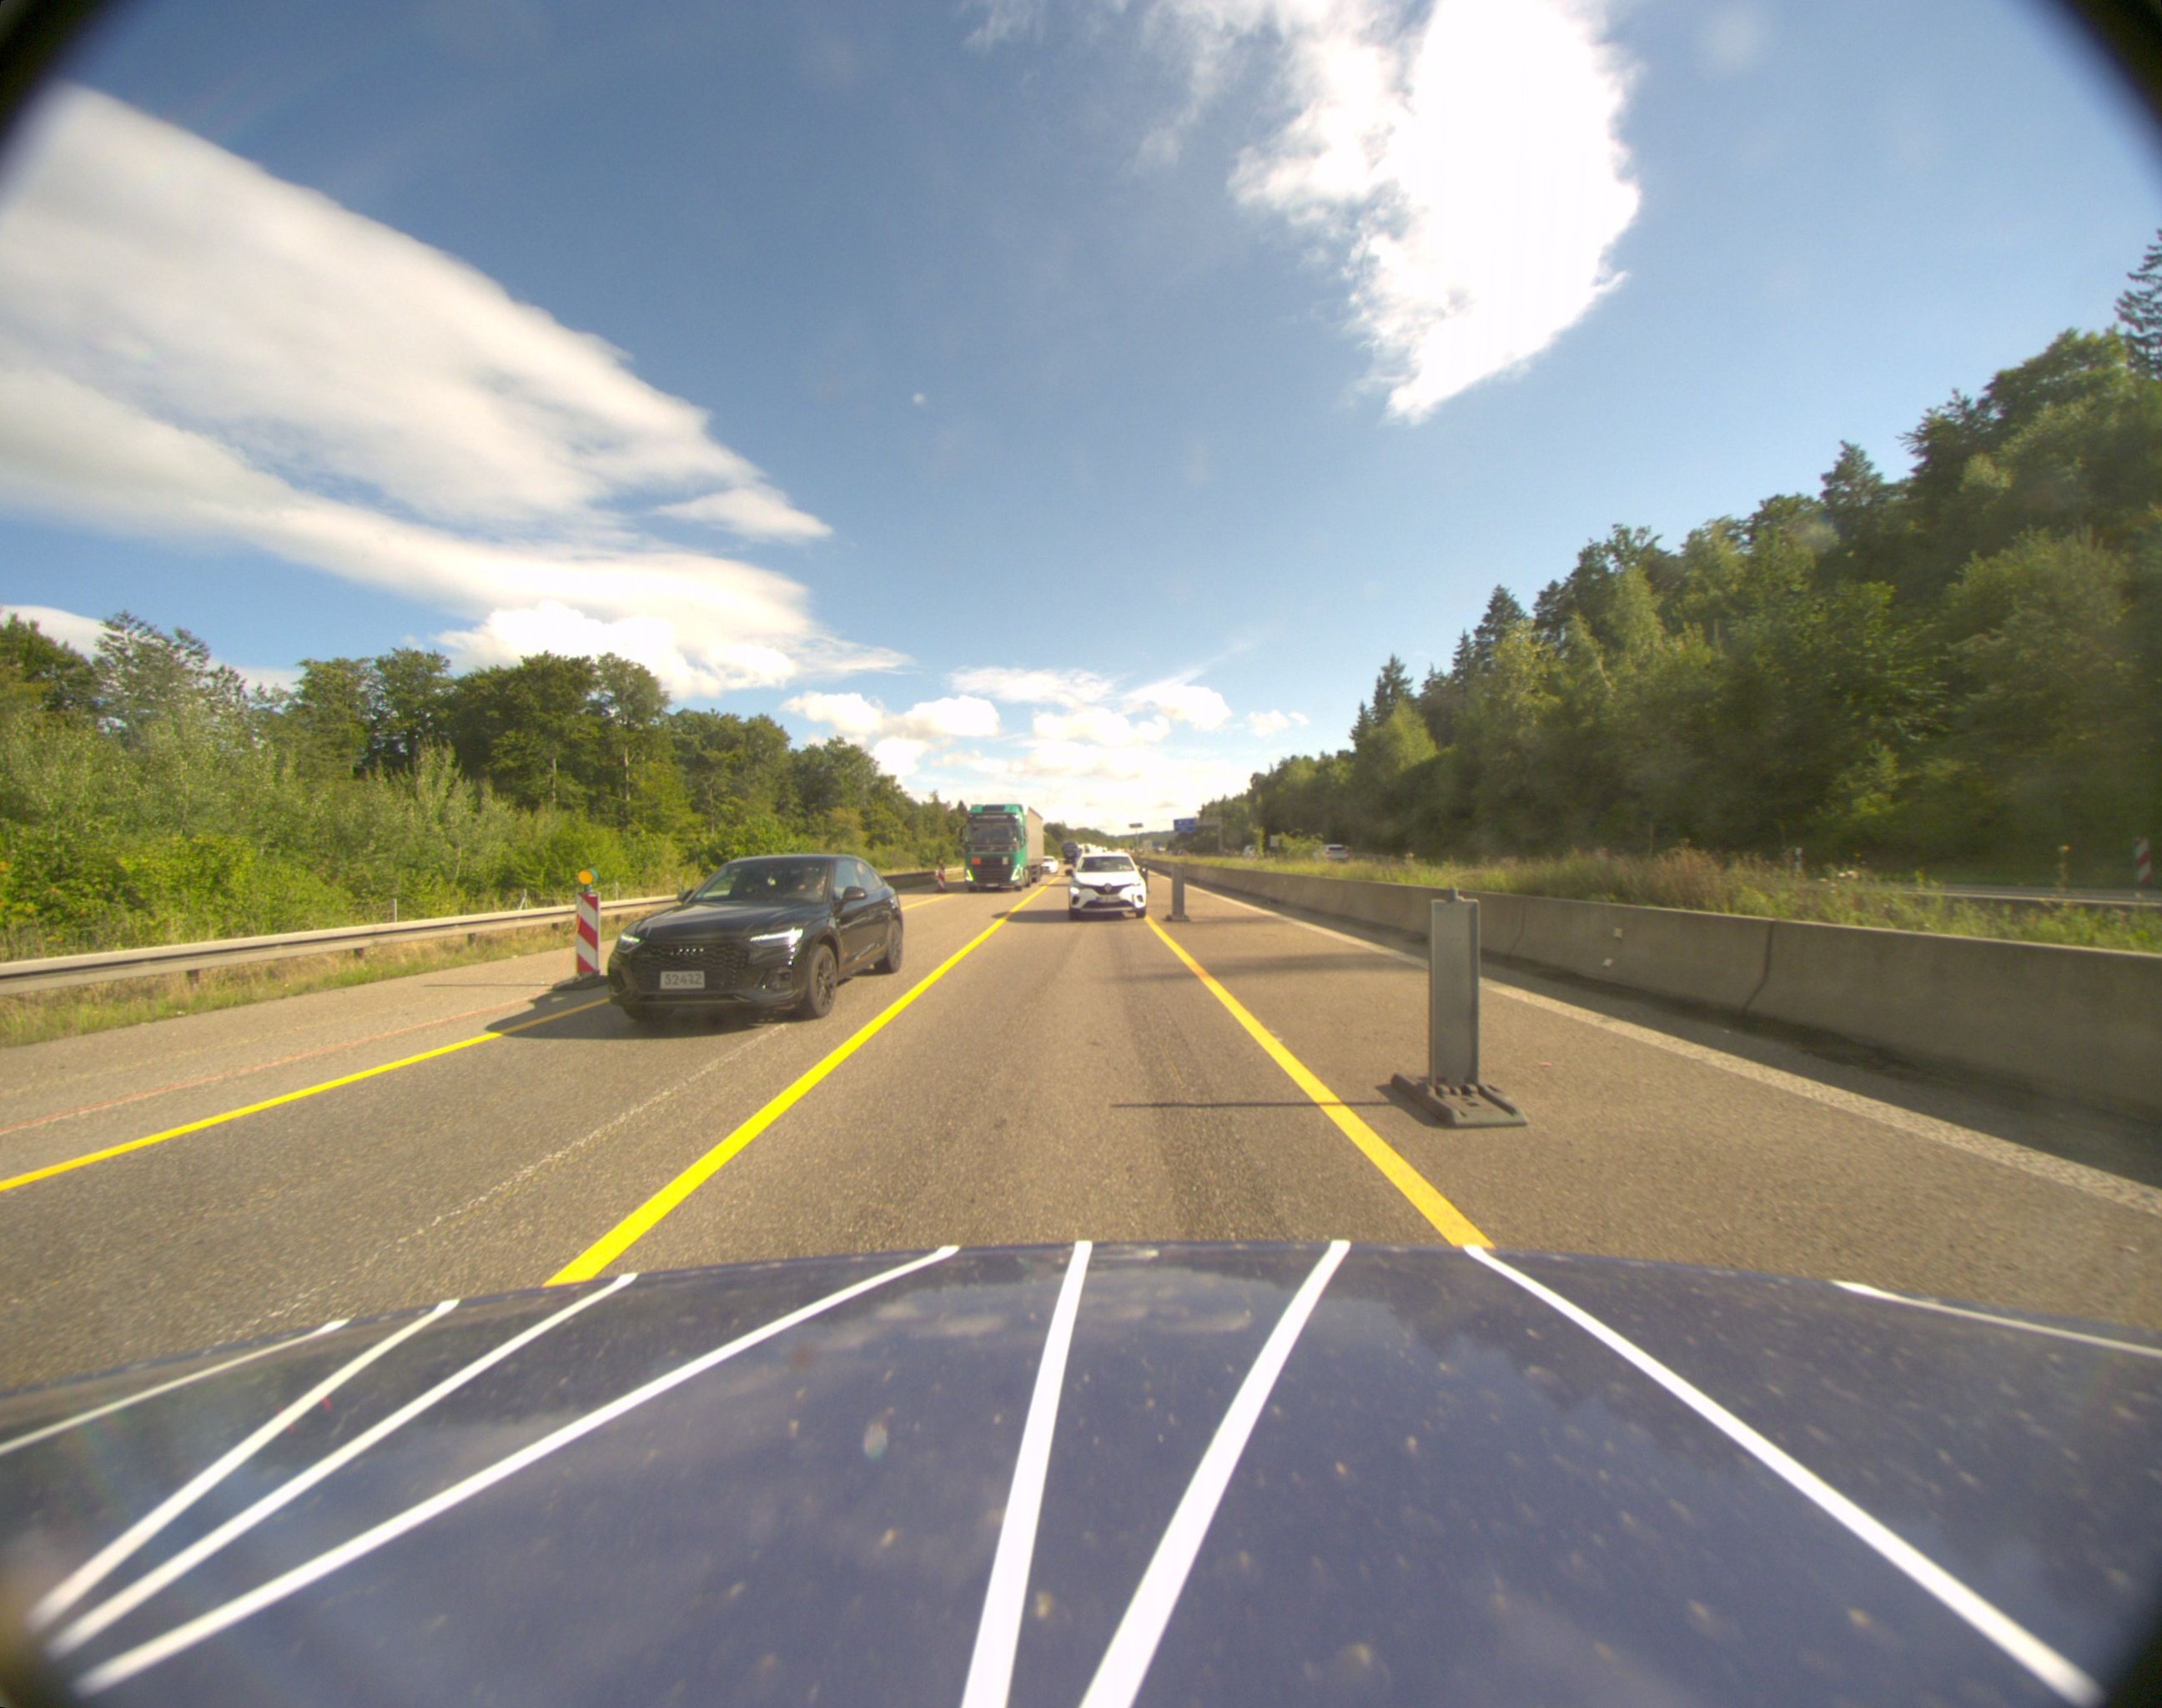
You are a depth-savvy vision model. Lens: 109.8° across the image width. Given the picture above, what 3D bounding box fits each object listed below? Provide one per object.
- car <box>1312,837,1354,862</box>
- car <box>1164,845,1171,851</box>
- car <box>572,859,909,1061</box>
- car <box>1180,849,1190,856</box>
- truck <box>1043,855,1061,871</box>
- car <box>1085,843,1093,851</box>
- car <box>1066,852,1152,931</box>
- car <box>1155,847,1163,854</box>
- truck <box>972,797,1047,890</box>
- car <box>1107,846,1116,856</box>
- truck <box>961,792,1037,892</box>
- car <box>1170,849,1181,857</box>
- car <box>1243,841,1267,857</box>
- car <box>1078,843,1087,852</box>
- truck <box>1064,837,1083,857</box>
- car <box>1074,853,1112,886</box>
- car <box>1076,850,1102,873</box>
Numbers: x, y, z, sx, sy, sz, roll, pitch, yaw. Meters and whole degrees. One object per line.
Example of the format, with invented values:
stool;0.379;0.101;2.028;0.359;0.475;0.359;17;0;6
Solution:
car;19.272;-0.334;58.367;1.782;1.775;4.364;-2;1;1
car;29.190;-2.075;257.393;1.782;1.891;4.617;-2;1;1
car;-3.393;0.923;8.632;1.782;1.593;4.293;-2;1;1
car;25.327;-0.376;184.802;1.782;1.679;4.617;-2;1;1
truck;-2.404;0.707;63.777;1.468;1.215;3.087;-2;1;-2
car;1.970;-1.616;182.807;1.750;1.787;3.999;-2;1;0
car;0.625;0.794;18.156;1.782;1.593;4.017;-2;1;1
car;22.338;-0.890;217.357;1.782;1.891;4.617;-2;1;1
truck;-3.574;-0.491;41.478;2.470;4.119;14.210;-2;0;1
car;6.757;-0.655;169.193;1.998;2.002;4.000;-2;1;3
truck;-3.610;-0.525;35.021;2.528;4.076;6.855;-2;1;1
car;19.486;-0.243;157.031;1.782;1.448;4.104;-2;1;1
car;20.354;-0.571;89.159;1.782;1.775;4.364;-2;1;1
car;0.371;-1.417;159.999;1.750;1.787;3.999;-2;1;0
truck;-1.235;-1.147;128.124;2.576;3.168;6.802;-2;1;3
car;0.596;0.740;38.365;1.782;1.468;4.017;-2;1;1
car;0.585;0.515;56.317;1.782;1.593;4.017;-2;1;1
